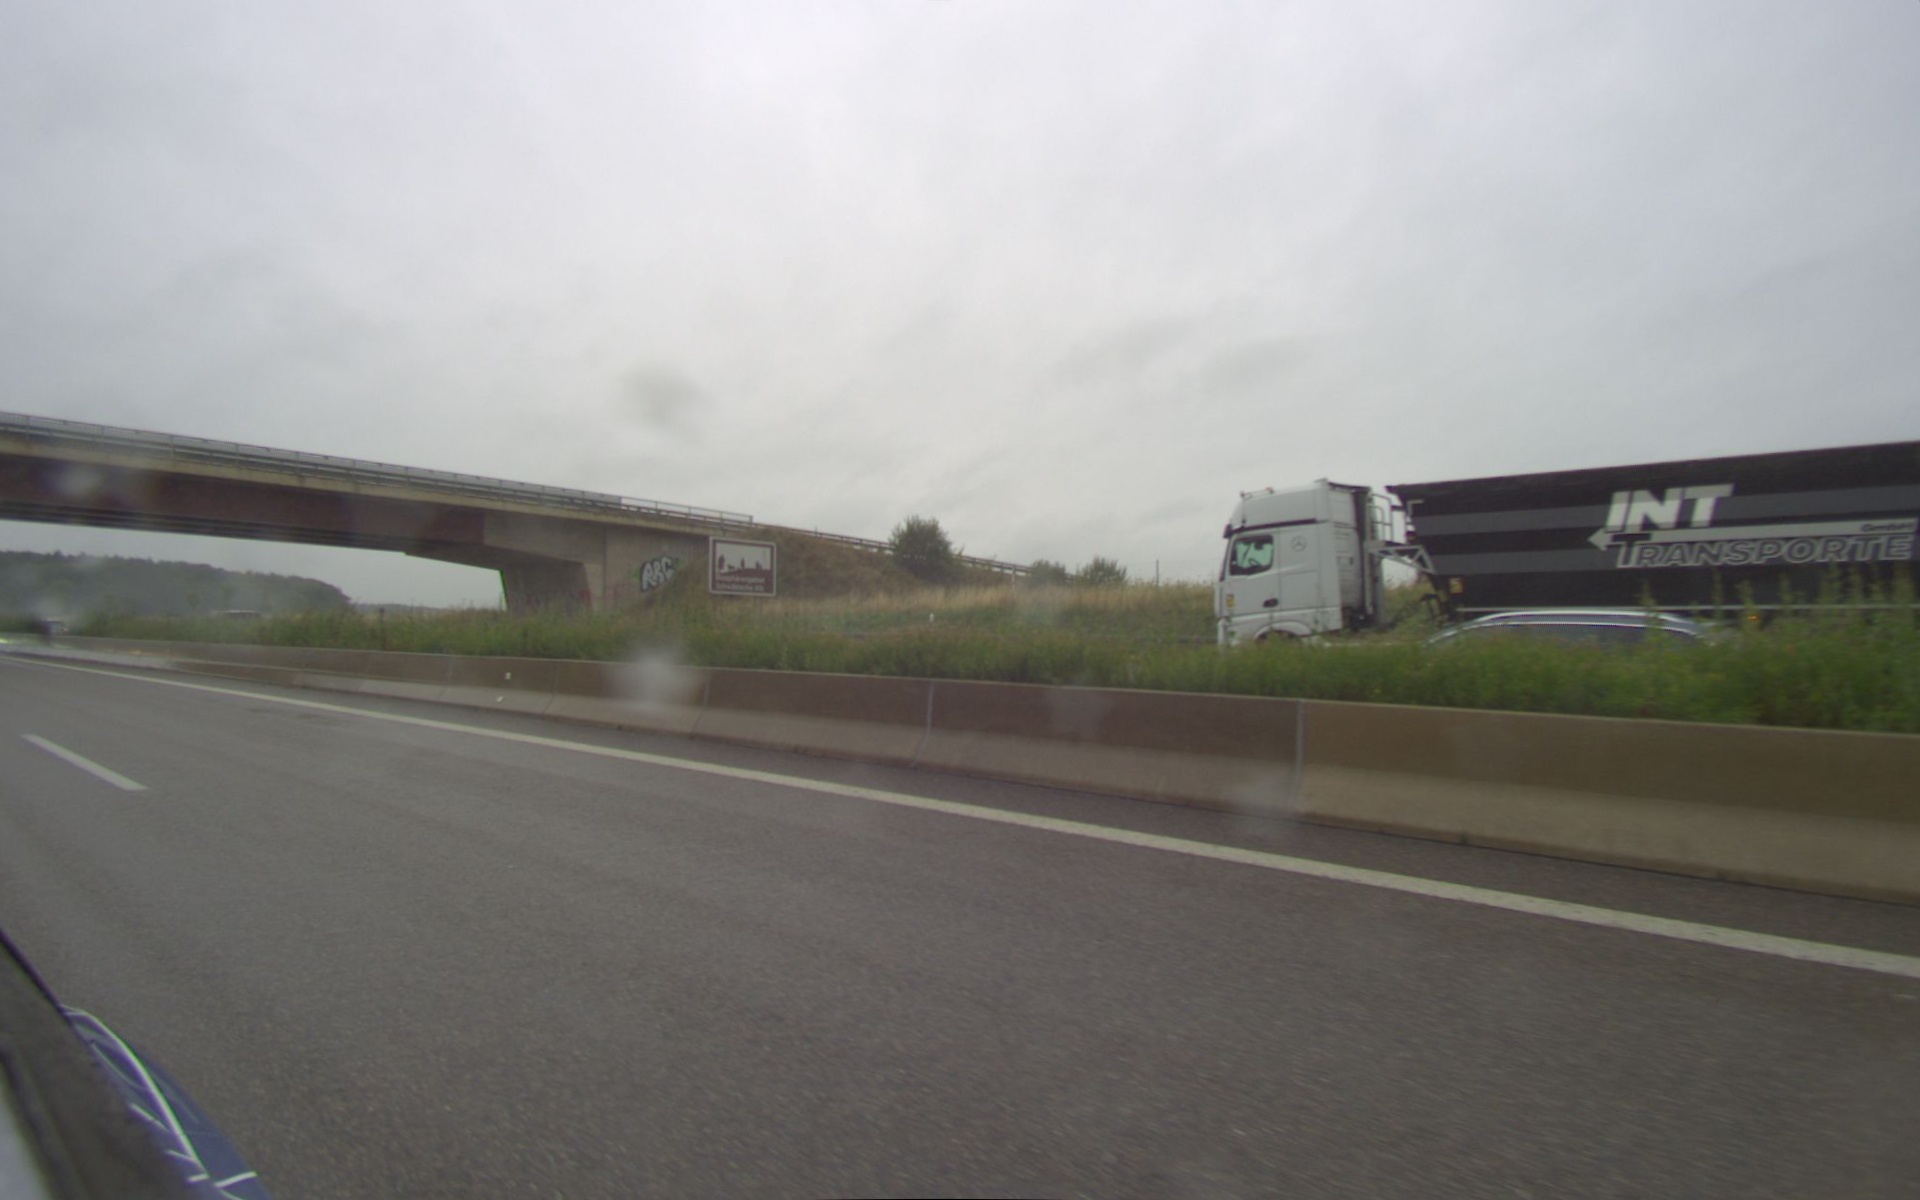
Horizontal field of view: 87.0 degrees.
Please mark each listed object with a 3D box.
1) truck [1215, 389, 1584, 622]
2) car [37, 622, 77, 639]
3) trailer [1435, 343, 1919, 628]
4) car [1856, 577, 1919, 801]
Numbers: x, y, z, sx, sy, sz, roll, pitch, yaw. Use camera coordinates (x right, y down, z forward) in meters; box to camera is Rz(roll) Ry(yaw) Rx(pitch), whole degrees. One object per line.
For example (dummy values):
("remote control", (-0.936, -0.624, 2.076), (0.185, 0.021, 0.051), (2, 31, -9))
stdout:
("truck", (7.972, -1.480, 18.712), (5.737, 3.635, 2.750), (0, 0, 41))
("car", (-73.398, 2.461, 82.250), (3.997, 1.342, 1.859), (-1, -1, 40))
("trailer", (12.953, -1.471, 14.156), (11.149, 3.648, 2.734), (0, 0, 43))
("car", (8.932, 0.668, 7.512), (3.352, 1.735, 1.472), (-1, -1, 41))
